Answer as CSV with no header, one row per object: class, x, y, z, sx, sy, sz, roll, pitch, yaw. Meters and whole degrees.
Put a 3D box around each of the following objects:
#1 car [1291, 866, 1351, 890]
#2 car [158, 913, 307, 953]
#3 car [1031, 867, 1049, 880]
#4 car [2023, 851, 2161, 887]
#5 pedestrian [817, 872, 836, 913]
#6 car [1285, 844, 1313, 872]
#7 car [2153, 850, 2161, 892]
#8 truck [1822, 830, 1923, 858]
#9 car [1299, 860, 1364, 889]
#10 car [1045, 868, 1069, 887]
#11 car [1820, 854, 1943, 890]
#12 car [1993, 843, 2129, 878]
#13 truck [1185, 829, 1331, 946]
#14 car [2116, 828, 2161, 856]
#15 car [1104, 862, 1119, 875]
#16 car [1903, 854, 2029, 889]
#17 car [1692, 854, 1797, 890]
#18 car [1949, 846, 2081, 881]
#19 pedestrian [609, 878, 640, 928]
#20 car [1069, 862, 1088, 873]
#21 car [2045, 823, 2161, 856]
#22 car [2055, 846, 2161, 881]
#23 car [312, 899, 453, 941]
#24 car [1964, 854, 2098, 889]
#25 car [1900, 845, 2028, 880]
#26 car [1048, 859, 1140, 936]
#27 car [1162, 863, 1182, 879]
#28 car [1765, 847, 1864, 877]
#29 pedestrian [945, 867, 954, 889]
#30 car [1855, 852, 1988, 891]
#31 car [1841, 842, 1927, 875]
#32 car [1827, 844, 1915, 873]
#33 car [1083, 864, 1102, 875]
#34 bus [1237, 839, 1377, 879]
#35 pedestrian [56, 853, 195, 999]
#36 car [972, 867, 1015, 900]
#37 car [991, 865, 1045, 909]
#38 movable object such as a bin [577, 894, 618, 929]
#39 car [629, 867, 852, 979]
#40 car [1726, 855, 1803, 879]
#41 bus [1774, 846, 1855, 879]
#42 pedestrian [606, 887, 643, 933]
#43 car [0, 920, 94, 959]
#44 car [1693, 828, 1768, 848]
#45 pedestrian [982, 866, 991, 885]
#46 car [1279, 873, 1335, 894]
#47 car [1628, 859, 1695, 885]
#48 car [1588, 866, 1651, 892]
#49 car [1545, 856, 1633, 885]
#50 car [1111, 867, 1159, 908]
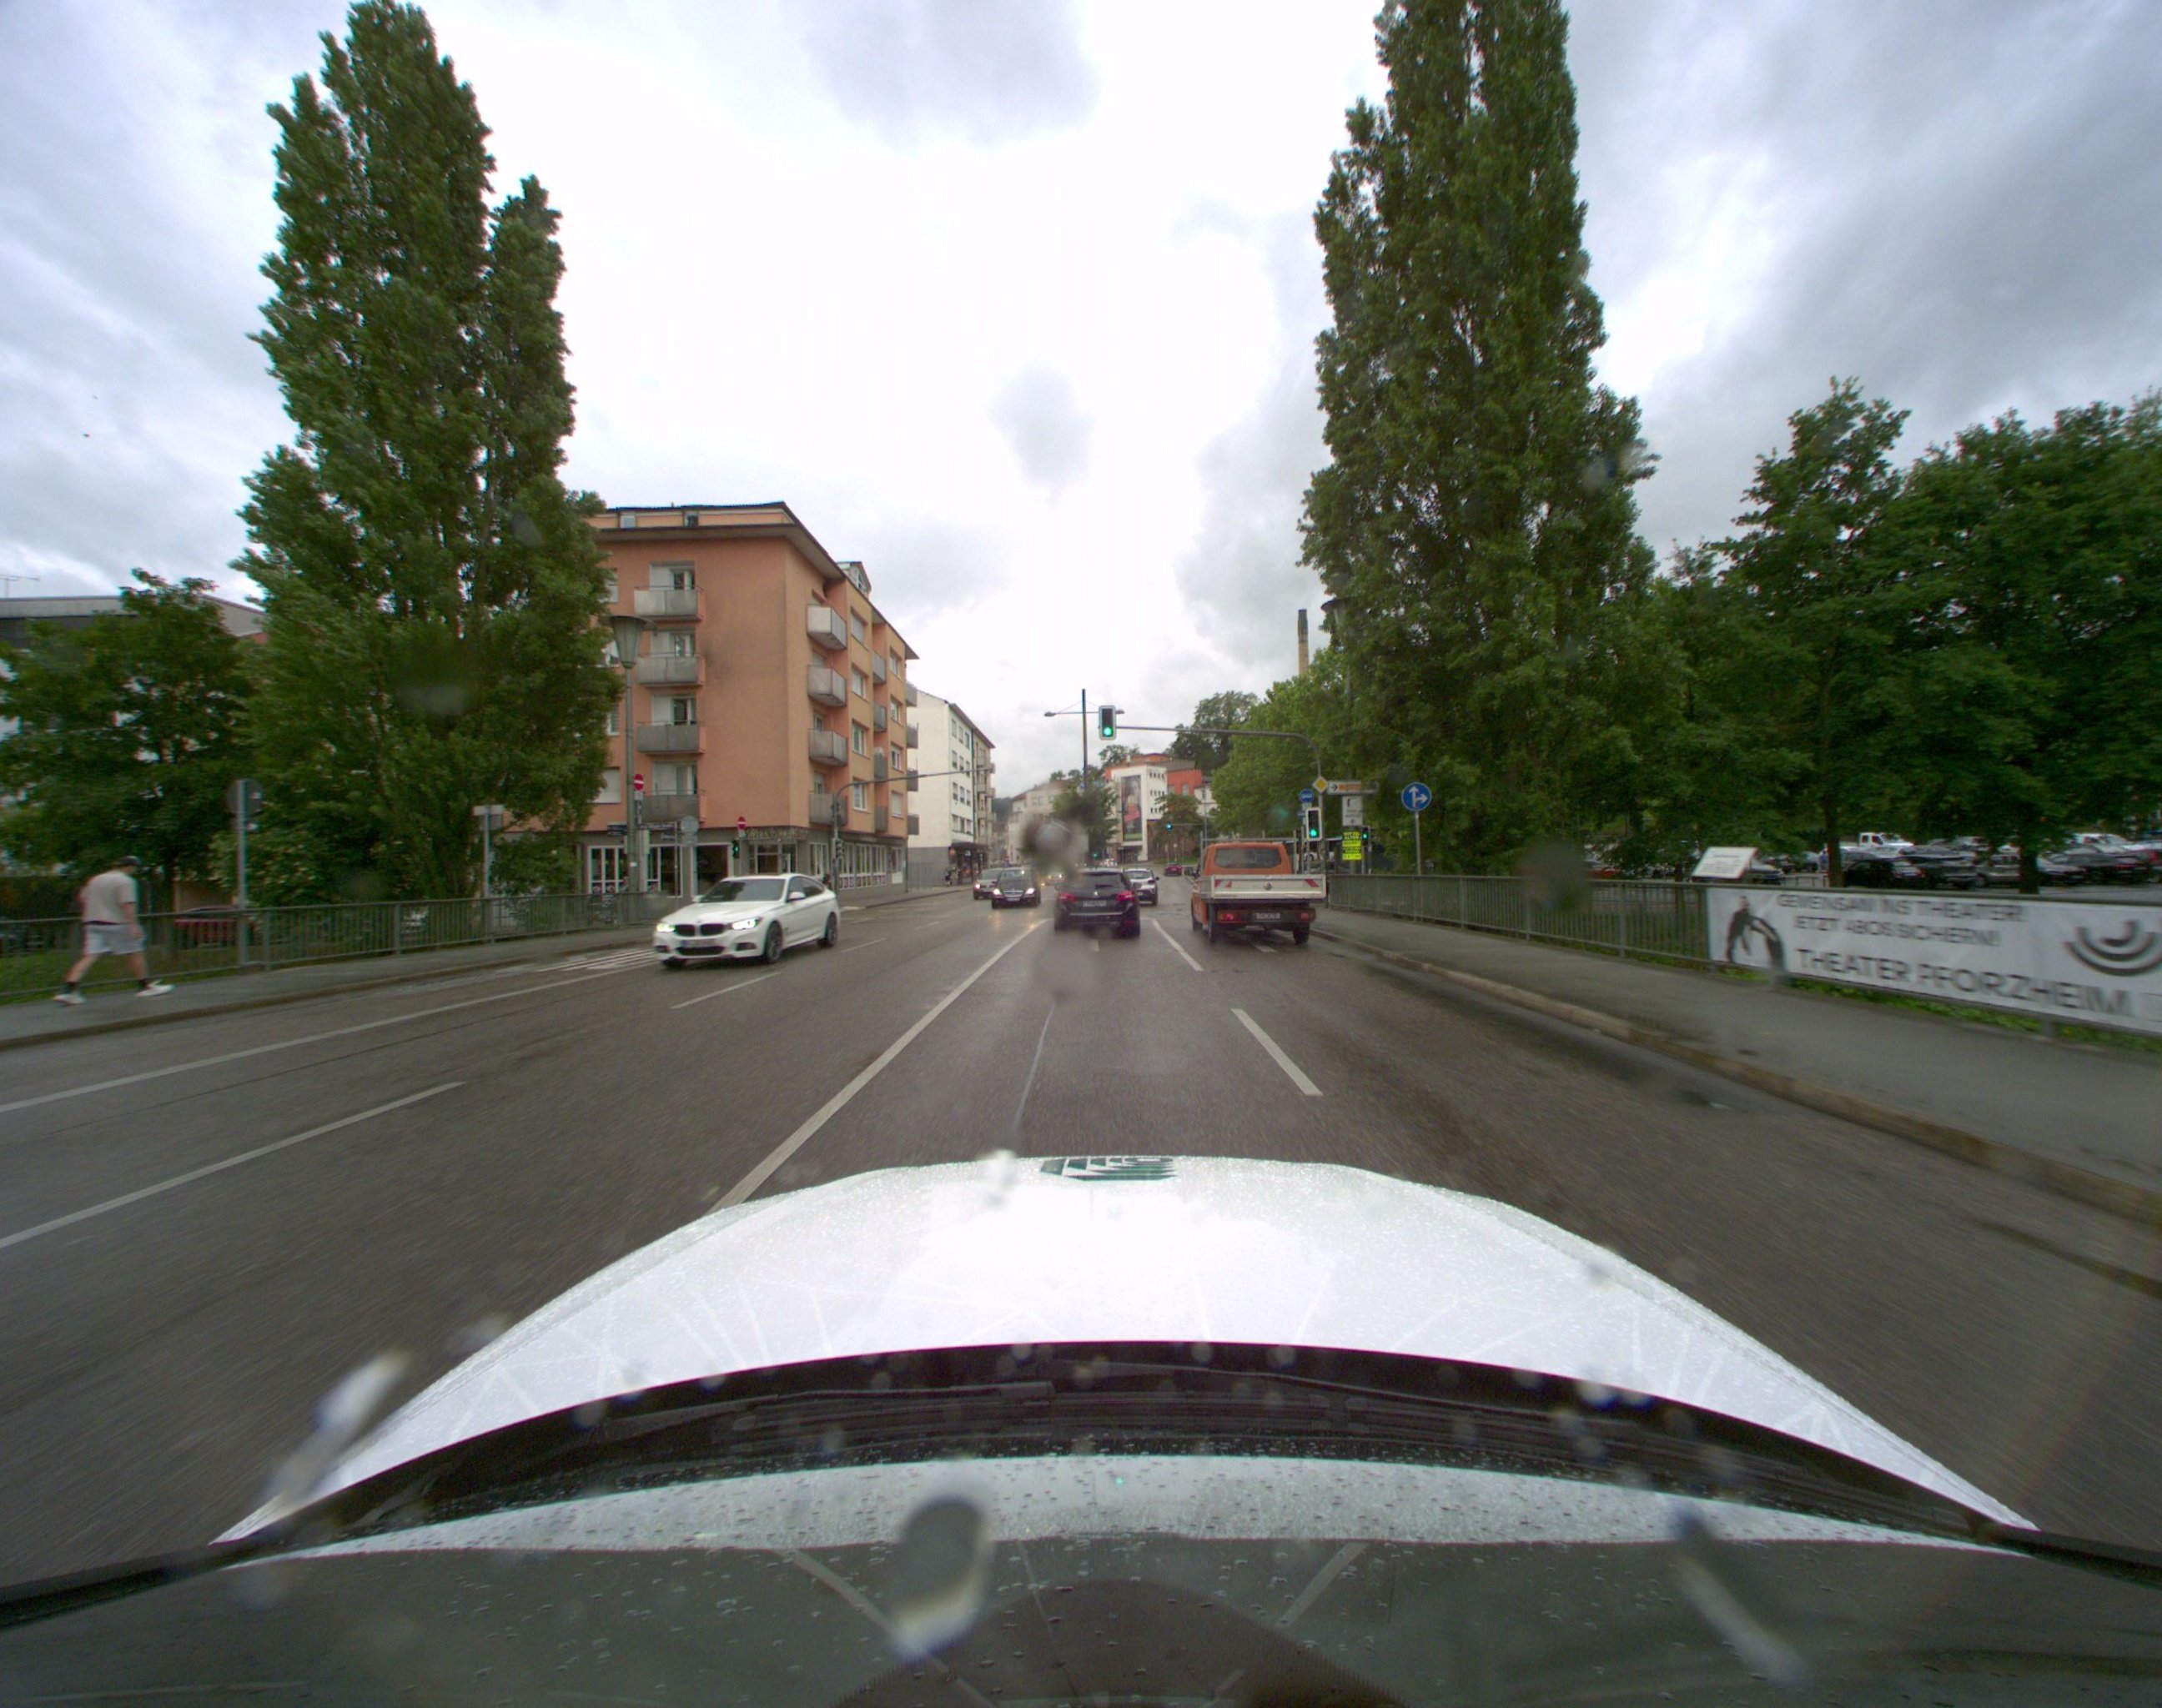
car,17.728,1.743,60.385,3.968,1.650,1.920,1,-1,4
car,-33.436,3.095,32.171,3.971,1.388,1.900,-1,-1,2
car,-4.611,2.191,92.413,1.659,1.400,3.877,-2,-1,1
car,47.654,0.709,38.462,1.795,1.587,3.902,-1,-1,-1
pedestrian,-10.963,1.669,35.091,0.528,1.727,0.649,-1,-1,5
car,24.013,0.436,89.776,2.064,2.971,4.230,0,-1,2
car,41.418,0.601,28.898,3.967,1.546,1.894,0,-1,5
truck,69.561,-0.855,71.795,2.435,2.239,6.518,0,-1,-2
car,17.162,1.375,56.009,3.968,1.925,1.972,0,-1,4
car,-1.995,1.915,68.052,1.648,1.450,3.545,-3,-1,2
car,37.619,0.816,38.409,1.795,1.590,4.014,-1,-1,-1
car,53.205,0.372,44.379,1.923,1.757,4.595,0,-1,1
truck,3.359,0.593,16.433,2.113,2.025,4.718,0,0,2
car,73.363,-0.818,54.580,1.990,1.847,4.587,0,-1,-4
car,4.610,2.220,124.135,1.989,1.821,3.995,0,0,-3
car,42.545,0.820,39.275,1.795,1.587,3.902,-1,-1,-1
car,35.325,0.944,43.543,1.795,1.764,4.584,-1,-1,-1
car,50.395,0.528,44.102,1.923,1.757,4.595,0,-1,1
pedestrian,-15.423,1.652,27.486,0.789,1.663,0.625,-4,-4,37
car,-0.412,2.037,121.835,1.652,1.564,3.572,3,-3,-23
car,68.359,-0.935,54.591,1.987,2.014,4.594,0,-1,1
car,49.981,0.422,39.049,1.795,1.587,3.902,-1,-1,-1
car,-27.809,2.604,32.513,3.971,1.388,1.900,-2,-1,2
car,45.135,0.816,38.845,1.795,1.587,3.902,-1,-1,-1
car,47.489,0.487,43.960,1.923,1.757,4.595,0,-1,1
car,0.396,0.893,17.969,1.787,1.484,4.004,0,-1,4
car,10.092,1.914,90.977,1.641,1.564,3.595,2,-3,-3
car,44.472,0.497,49.536,1.923,1.757,4.595,0,-1,1
pedestrian,-11.220,2.028,69.404,0.637,1.861,0.523,0,-1,0
car,39.935,0.821,38.849,1.795,1.709,4.343,-1,-1,-1
car,54.468,0.374,55.353,1.986,2.014,4.000,1,-3,1
car,57.311,0.330,59.204,1.987,2.014,4.594,0,-1,1
car,1.713,2.395,125.325,1.652,1.564,3.572,3,-3,-23
bus,30.040,0.724,108.907,17.837,5.212,3.102,0,-1,4
pedestrian,-12.206,0.892,10.433,0.793,1.794,0.813,0,-1,3
car,-4.576,1.551,43.269,1.730,1.601,3.920,-1,-1,1
car,-2.541,1.293,33.586,1.730,1.601,3.920,-3,-1,1
movable object such as a bin,-15.904,1.895,26.798,0.789,1.111,0.889,-4,-3,35
car,-5.804,1.079,14.681,1.829,1.510,4.822,-1,1,2
car,46.460,0.865,55.484,1.799,1.550,4.202,0,-1,1
bus,49.864,0.614,55.473,1.987,2.014,3.999,2,-3,1
pedestrian,-14.885,1.813,26.571,0.647,1.445,0.802,-3,-3,14
car,-42.835,3.438,32.782,3.971,1.388,1.900,0,-1,2
car,62.049,-1.524,77.925,5.270,1.757,1.947,-1,-1,24
pedestrian,-10.572,2.392,91.010,0.731,2.014,0.651,3,-4,-32
car,17.550,2.260,63.349,3.968,1.509,1.745,1,-1,4
car,38.718,1.181,54.445,1.811,1.651,4.005,0,-1,5
car,36.089,1.662,54.714,1.811,1.651,4.005,0,-1,5
car,30.177,0.980,48.449,4.111,1.621,1.804,-1,-1,-3
car,2.241,1.325,33.316,1.786,1.483,4.005,-2,-1,4
